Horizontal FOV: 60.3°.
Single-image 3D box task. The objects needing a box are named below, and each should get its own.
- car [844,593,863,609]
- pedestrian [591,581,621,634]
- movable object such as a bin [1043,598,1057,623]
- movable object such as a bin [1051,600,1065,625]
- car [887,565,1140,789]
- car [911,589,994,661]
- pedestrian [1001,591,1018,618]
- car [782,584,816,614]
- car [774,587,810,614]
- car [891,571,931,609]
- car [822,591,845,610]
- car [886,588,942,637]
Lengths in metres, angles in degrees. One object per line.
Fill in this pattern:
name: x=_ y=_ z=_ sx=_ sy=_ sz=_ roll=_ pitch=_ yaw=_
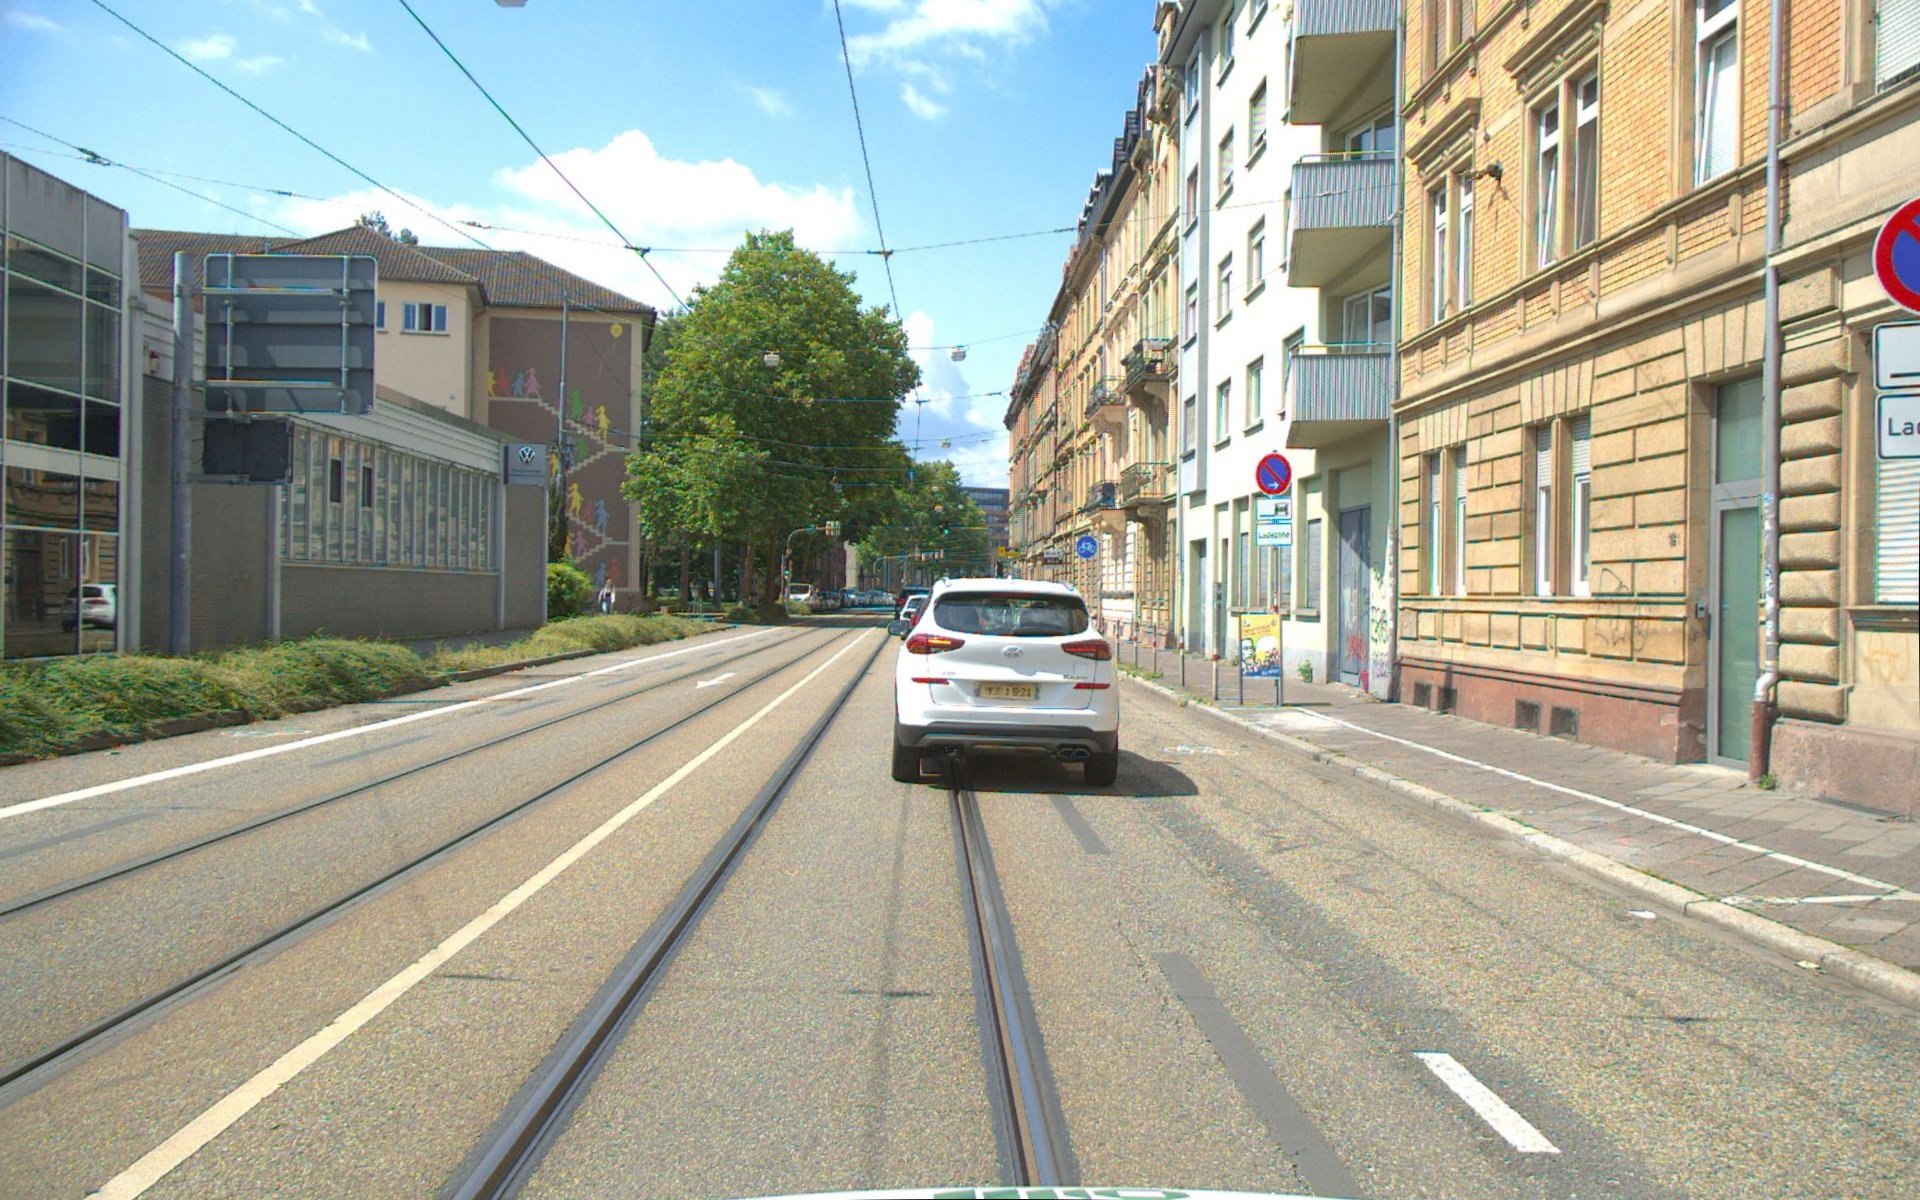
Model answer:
car: x=-11.323 y=0.094 z=175.713 sx=1.911 sy=1.660 sz=3.997 roll=1 pitch=0 yaw=-4
pedestrian: x=-12.914 y=0.258 z=60.381 sx=0.862 sy=1.898 sz=1.080 roll=-1 pitch=0 yaw=-1
movable object such as a bin: x=4.210 y=0.474 z=77.495 sx=0.600 sy=1.163 sz=0.638 roll=1 pitch=0 yaw=-1
movable object such as a bin: x=4.501 y=0.572 z=76.072 sx=0.600 sy=1.163 sz=0.638 roll=1 pitch=0 yaw=-1
car: x=0.320 y=0.579 z=14.690 sx=1.815 sy=1.662 sz=4.177 roll=2 pitch=0 yaw=-4
car: x=-0.176 y=0.525 z=37.349 sx=1.777 sy=1.551 sz=4.085 roll=0 pitch=0 yaw=0
pedestrian: x=2.959 y=0.274 z=98.618 sx=0.919 sy=1.600 sz=1.049 roll=1 pitch=0 yaw=-1
car: x=-10.822 y=-0.069 z=111.531 sx=1.910 sy=1.928 sz=4.564 roll=1 pitch=0 yaw=-2
car: x=-10.721 y=-0.004 z=105.538 sx=1.910 sy=1.660 sz=4.574 roll=1 pitch=0 yaw=-2
car: x=-2.213 y=-0.457 z=74.916 sx=1.778 sy=1.691 sz=4.084 roll=0 pitch=0 yaw=-1
car: x=-11.051 y=0.028 z=144.464 sx=1.911 sy=1.660 sz=3.997 roll=1 pitch=0 yaw=-4
car: x=-1.511 y=0.382 z=54.690 sx=1.778 sy=1.551 sz=3.954 roll=0 pitch=0 yaw=-1
